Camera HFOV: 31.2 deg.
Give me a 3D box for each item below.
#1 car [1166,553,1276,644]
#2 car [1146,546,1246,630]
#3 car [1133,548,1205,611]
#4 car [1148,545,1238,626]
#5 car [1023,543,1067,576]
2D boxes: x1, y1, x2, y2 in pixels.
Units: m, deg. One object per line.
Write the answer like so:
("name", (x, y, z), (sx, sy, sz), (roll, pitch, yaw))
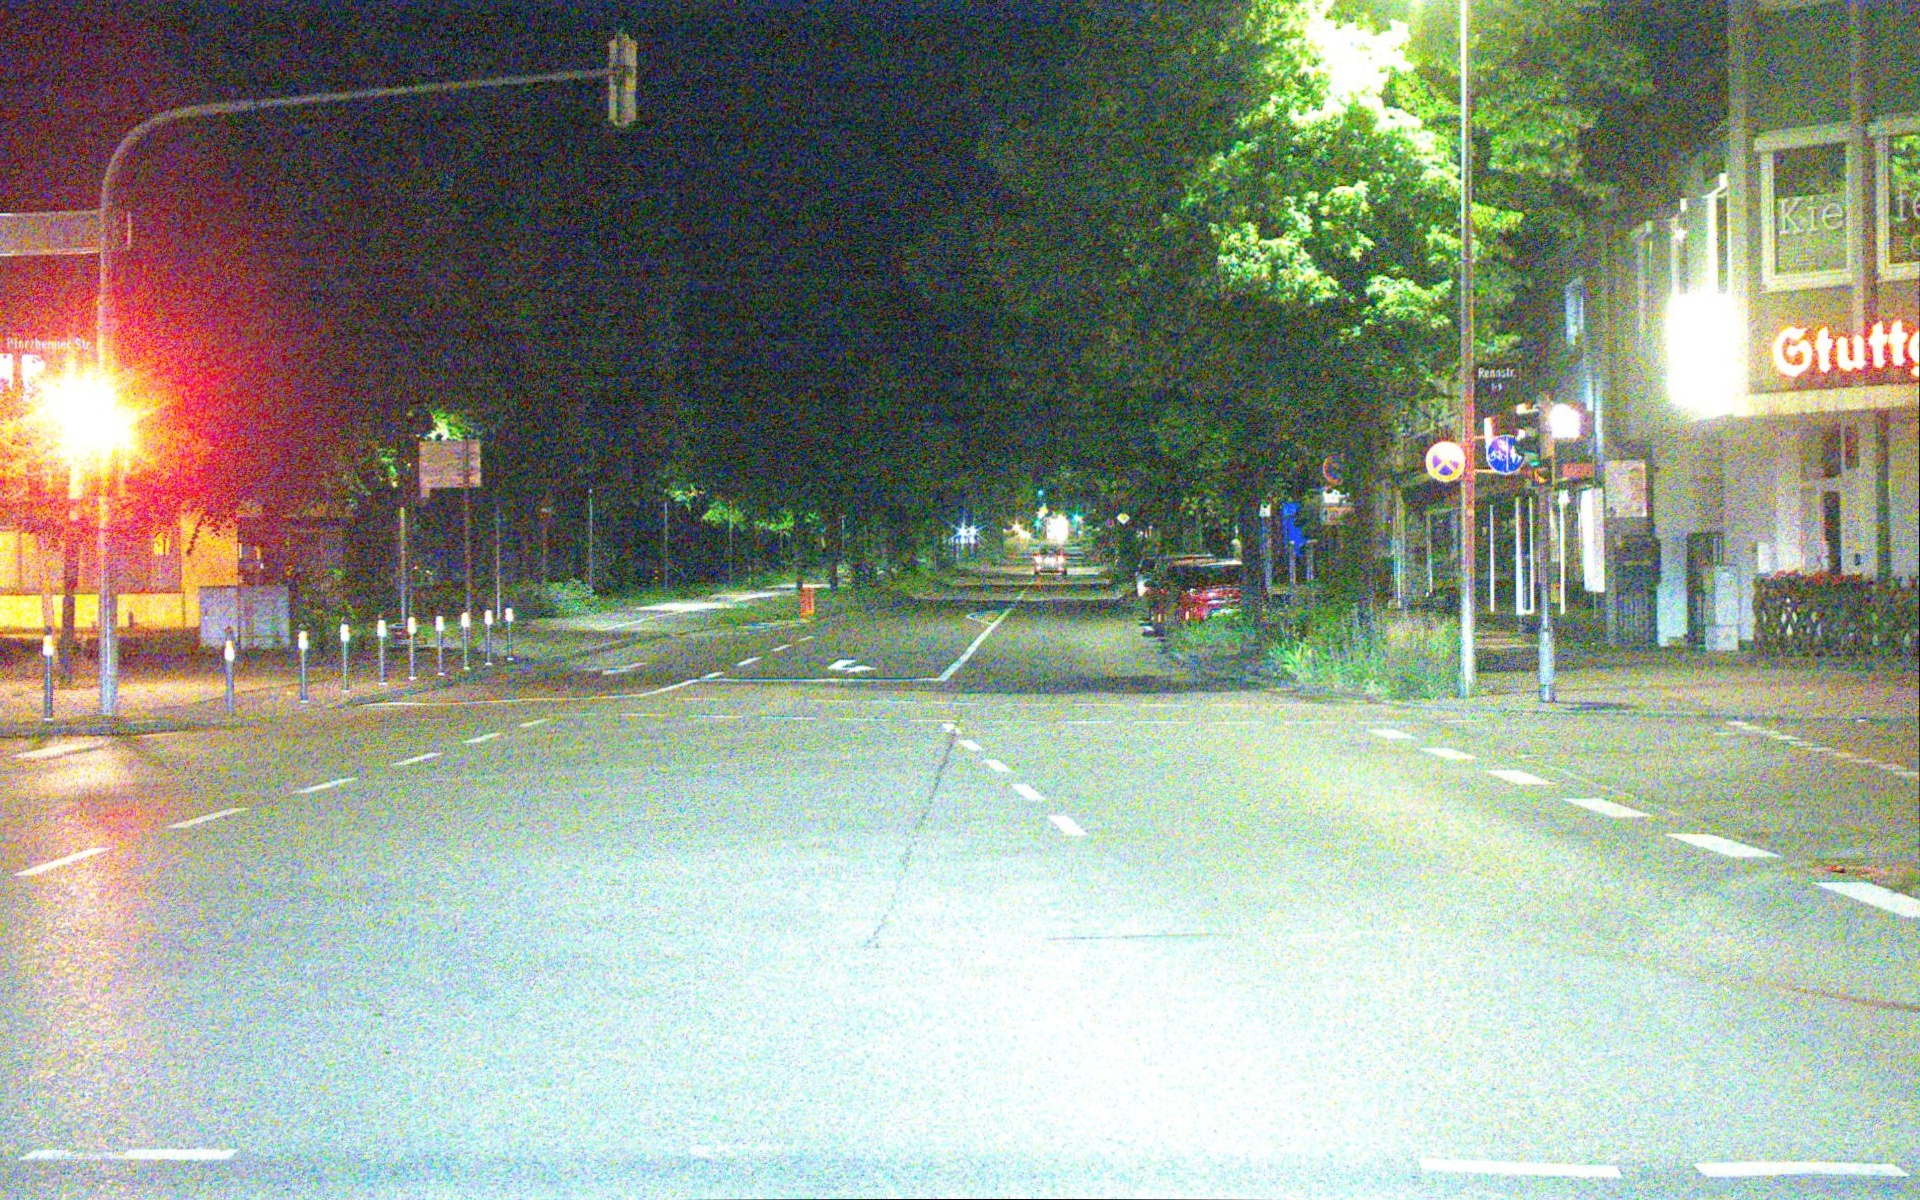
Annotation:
("car", (4.799, -0.052, 63.672), (1.876, 1.610, 4.000), (0, 1, 2))
("car", (4.700, -0.256, 68.795), (1.876, 1.610, 4.000), (0, 1, 2))
("car", (5.730, -0.584, 94.542), (1.876, 1.678, 4.000), (0, 1, 2))
("car", (5.159, -0.336, 76.466), (1.876, 1.723, 4.000), (0, 1, 2))
("car", (4.328, -2.078, 175.875), (2.227, 1.645, 4.000), (0, 1, 1))
